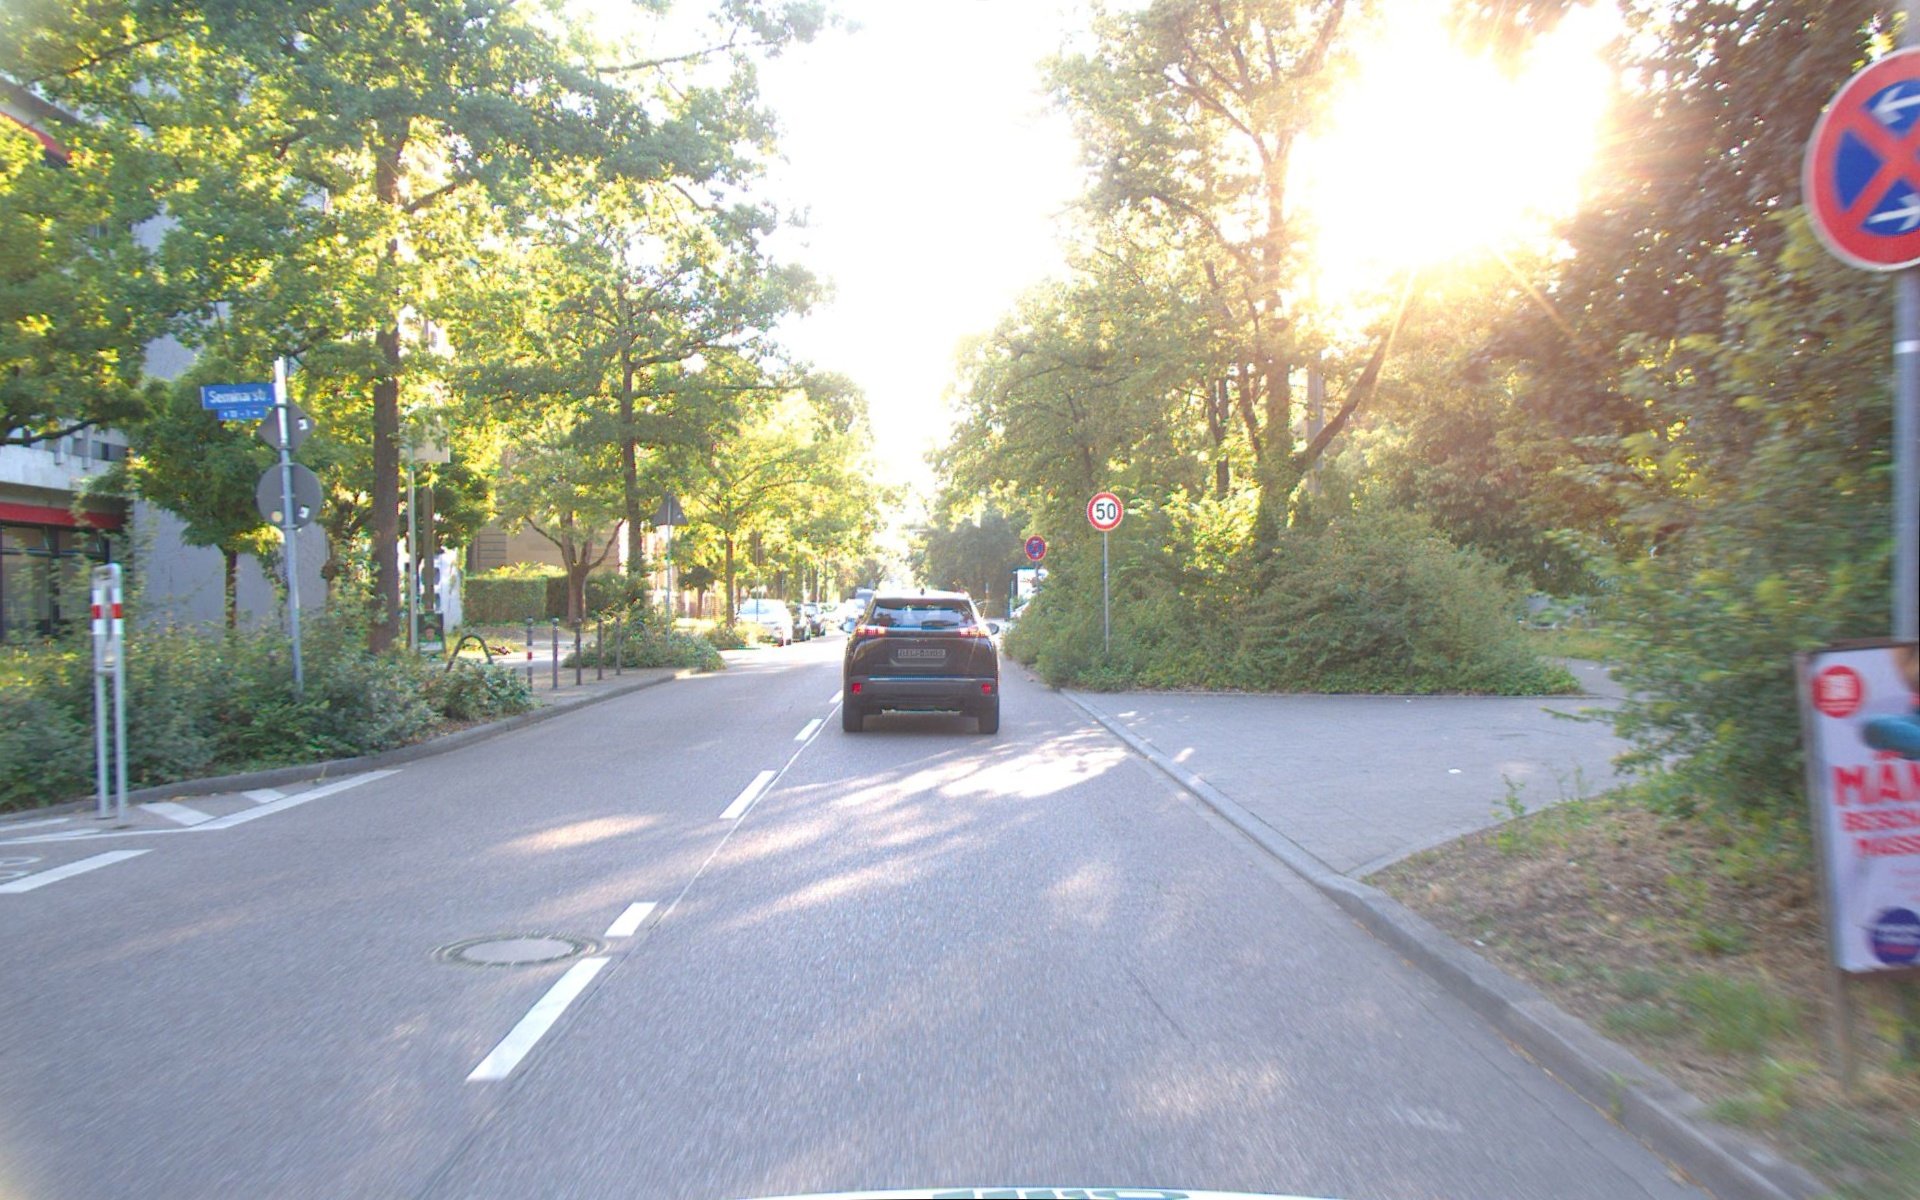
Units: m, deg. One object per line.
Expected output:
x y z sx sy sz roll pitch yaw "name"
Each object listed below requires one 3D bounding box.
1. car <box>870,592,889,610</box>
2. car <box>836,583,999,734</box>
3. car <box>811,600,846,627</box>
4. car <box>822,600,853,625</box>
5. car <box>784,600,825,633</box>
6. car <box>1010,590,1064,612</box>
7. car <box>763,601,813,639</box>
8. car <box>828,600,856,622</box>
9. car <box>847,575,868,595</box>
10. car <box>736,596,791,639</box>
-8.808 0.117 181.104 1.868 1.900 3.948 -1 0 -1 "car"
-0.494 0.606 19.210 1.732 1.596 3.379 0 0 -2 "car"
-7.085 0.725 89.116 1.775 1.378 3.996 -1 0 -5 "car"
-7.173 0.727 96.517 1.775 1.378 3.975 -1 0 -5 "car"
-6.954 0.720 74.156 1.775 1.378 3.996 -1 0 -5 "car"
5.879 0.095 126.465 3.909 1.610 1.814 -1 0 -5 "car"
-6.491 0.734 62.836 1.775 1.378 3.996 -1 0 -5 "car"
-7.638 0.712 106.713 1.775 1.378 3.996 -1 0 -5 "car"
-10.011 -1.431 161.555 1.868 1.900 3.948 -1 0 -1 "car"
-6.679 0.573 56.587 1.775 1.378 3.995 -1 0 -6 "car"
